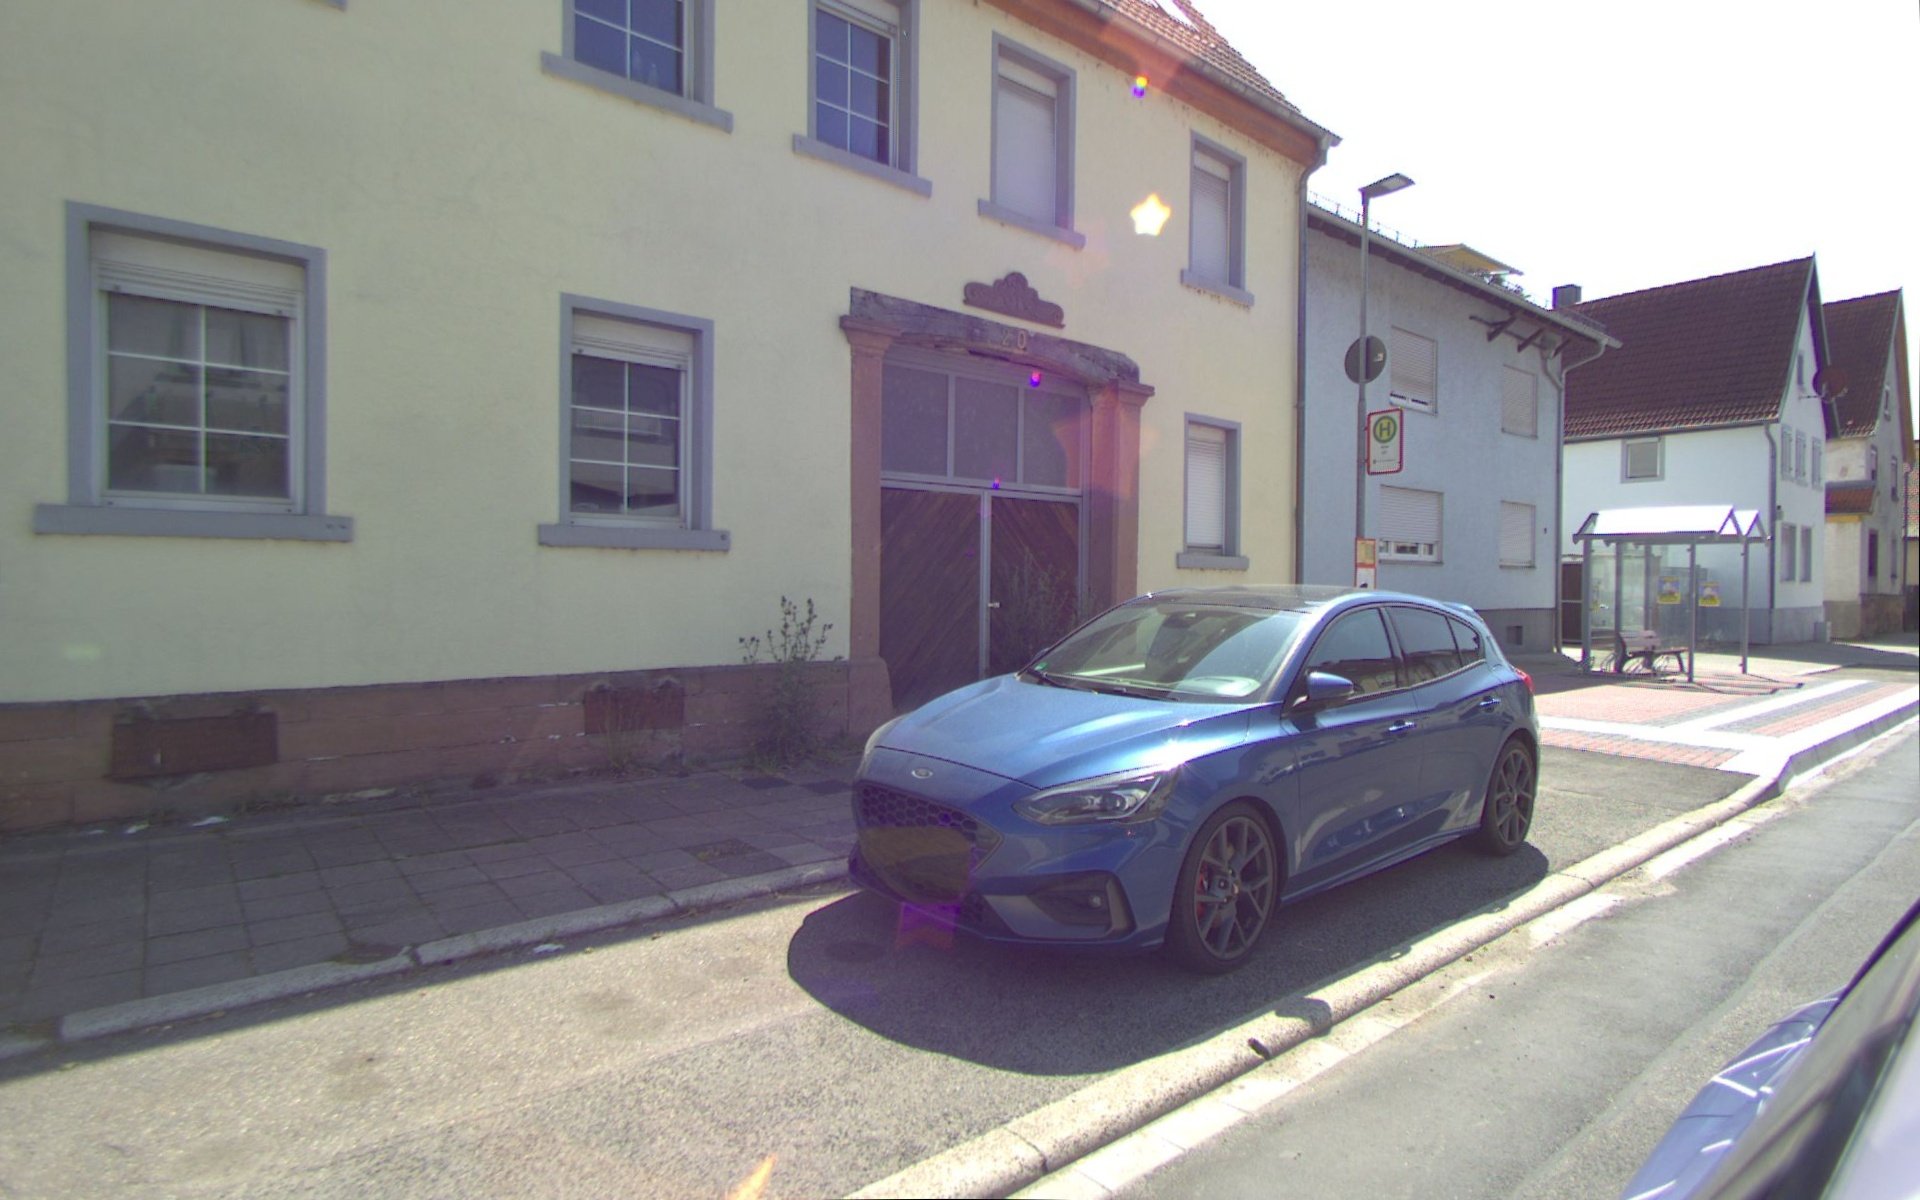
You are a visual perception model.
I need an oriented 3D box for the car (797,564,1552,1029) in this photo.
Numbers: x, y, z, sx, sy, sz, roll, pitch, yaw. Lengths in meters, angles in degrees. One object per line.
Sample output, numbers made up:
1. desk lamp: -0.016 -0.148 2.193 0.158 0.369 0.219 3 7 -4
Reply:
1. car: 1.319 0.600 5.100 3.916 1.445 1.731 0 0 -41
